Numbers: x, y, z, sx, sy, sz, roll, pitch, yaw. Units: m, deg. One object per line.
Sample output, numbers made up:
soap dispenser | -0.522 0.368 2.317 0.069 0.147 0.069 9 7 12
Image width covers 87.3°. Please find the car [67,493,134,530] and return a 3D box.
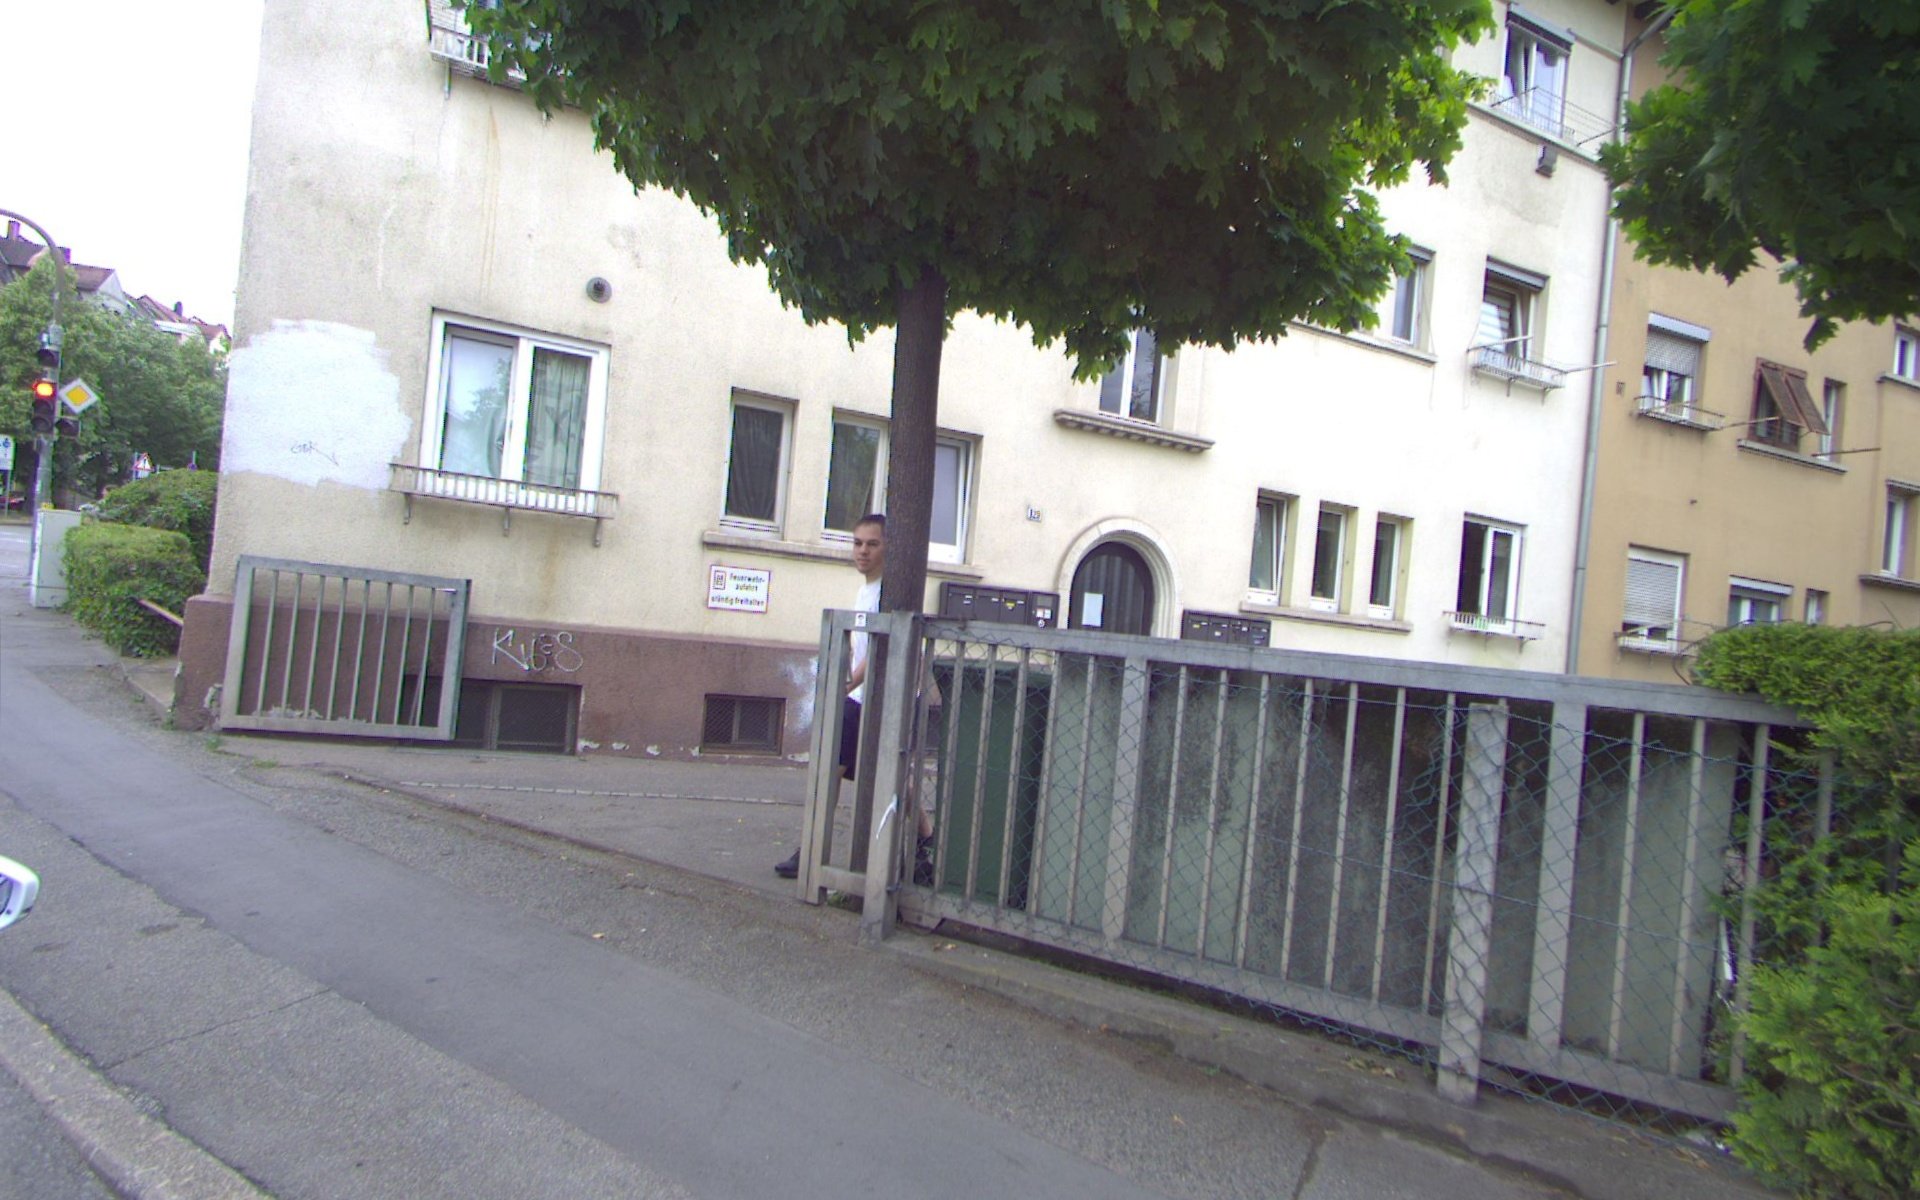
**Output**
car | -62.999 -6.448 73.804 1.970 2.036 3.992 9 -3 -15

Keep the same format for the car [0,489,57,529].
car | -60.835 -5.922 64.924 1.970 2.036 3.992 9 -3 -15

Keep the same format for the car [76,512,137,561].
car | -43.073 -3.188 50.744 1.989 2.036 3.953 9 -3 -43

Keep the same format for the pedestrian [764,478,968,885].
pedestrian | -0.444 0.348 4.744 0.684 1.761 0.466 7 3 29

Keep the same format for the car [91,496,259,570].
car | -26.111 -2.203 33.591 3.931 1.680 1.716 8 -2 -6

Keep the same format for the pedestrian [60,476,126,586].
pedestrian | -15.288 -1.217 17.747 0.581 1.840 0.529 7 -2 32
